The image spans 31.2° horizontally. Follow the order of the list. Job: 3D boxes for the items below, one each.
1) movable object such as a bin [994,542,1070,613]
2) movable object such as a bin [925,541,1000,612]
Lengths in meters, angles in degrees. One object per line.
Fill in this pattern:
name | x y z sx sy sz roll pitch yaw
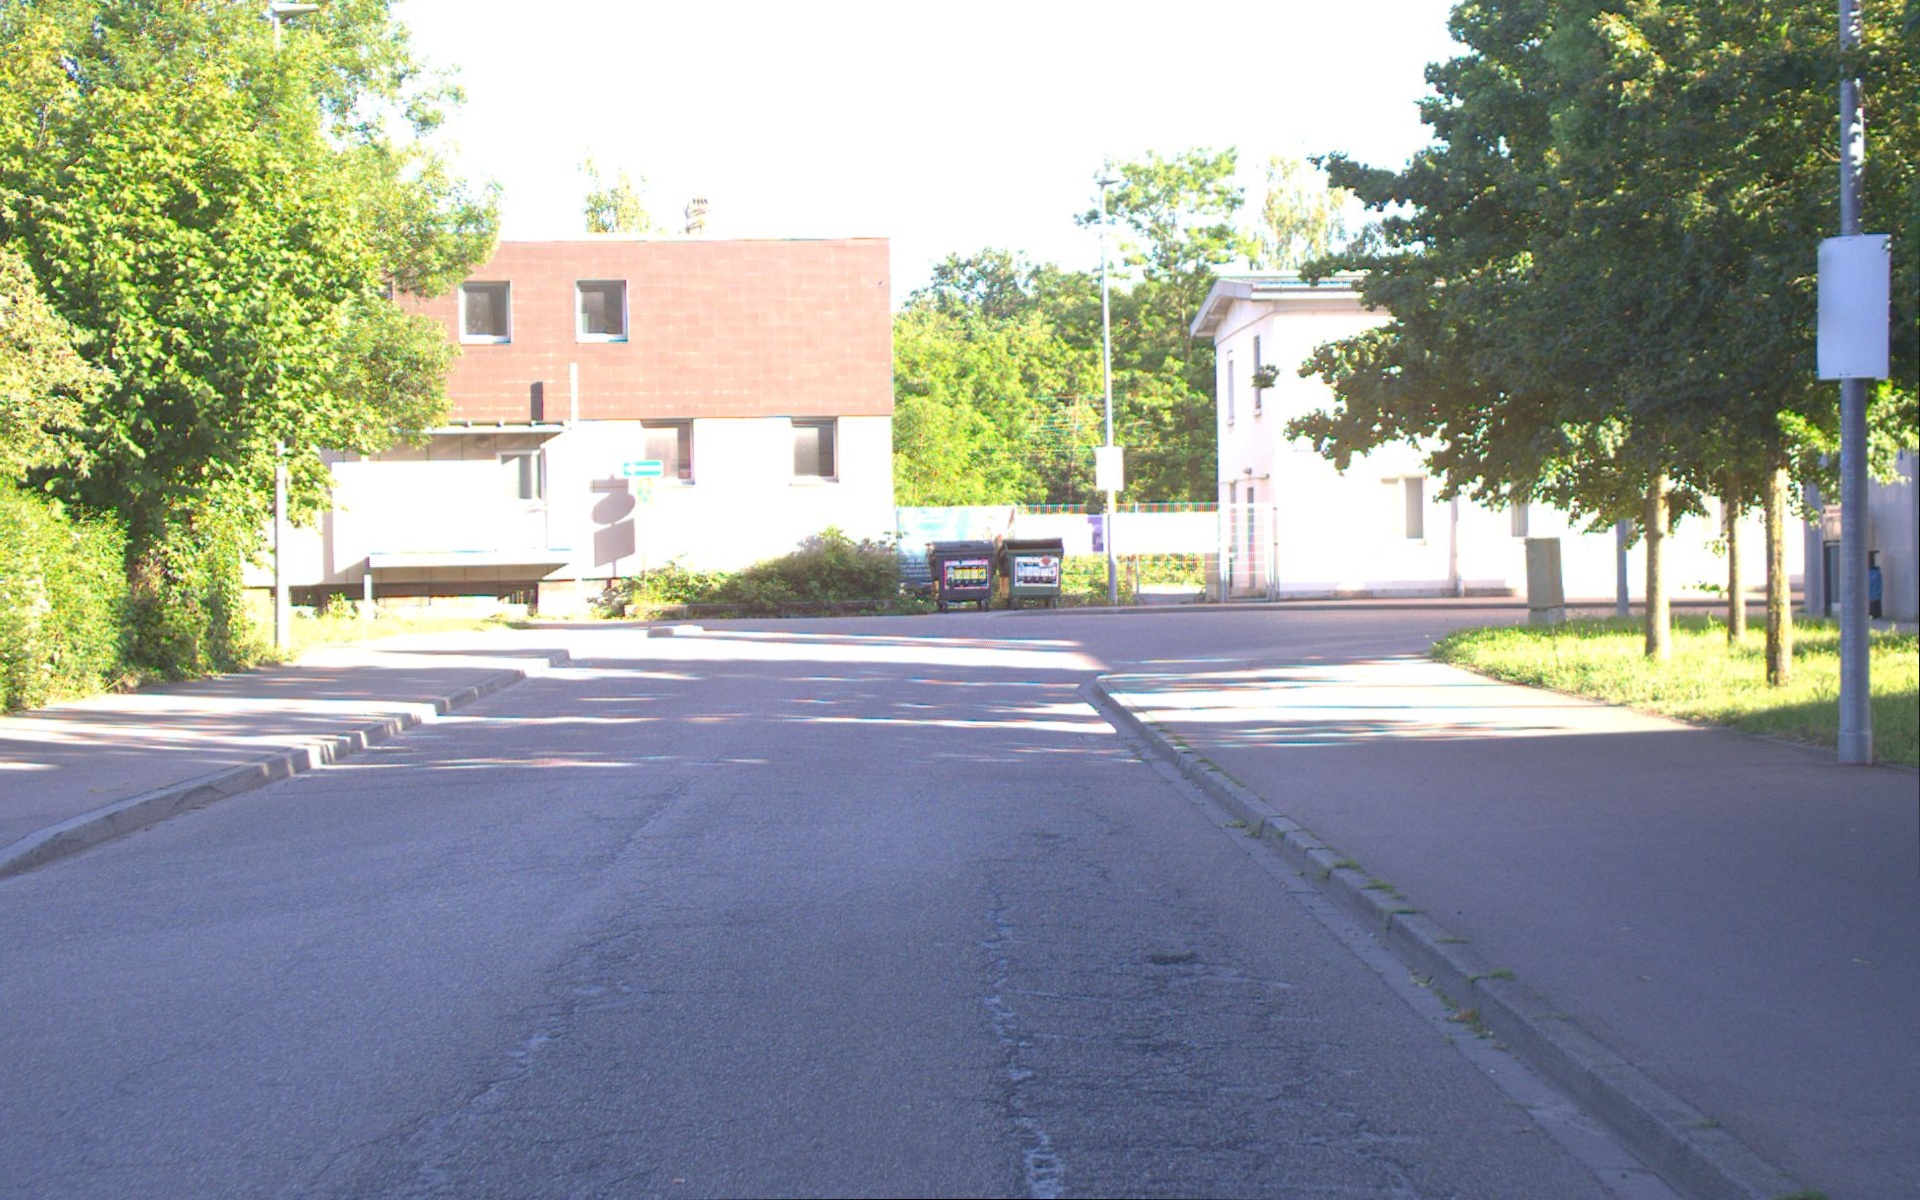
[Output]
movable object such as a bin | 1.442 -0.451 69.288 1.364 1.413 1.066 1 0 -7
movable object such as a bin | 0.049 -0.472 69.123 1.364 1.413 1.066 1 0 -7
